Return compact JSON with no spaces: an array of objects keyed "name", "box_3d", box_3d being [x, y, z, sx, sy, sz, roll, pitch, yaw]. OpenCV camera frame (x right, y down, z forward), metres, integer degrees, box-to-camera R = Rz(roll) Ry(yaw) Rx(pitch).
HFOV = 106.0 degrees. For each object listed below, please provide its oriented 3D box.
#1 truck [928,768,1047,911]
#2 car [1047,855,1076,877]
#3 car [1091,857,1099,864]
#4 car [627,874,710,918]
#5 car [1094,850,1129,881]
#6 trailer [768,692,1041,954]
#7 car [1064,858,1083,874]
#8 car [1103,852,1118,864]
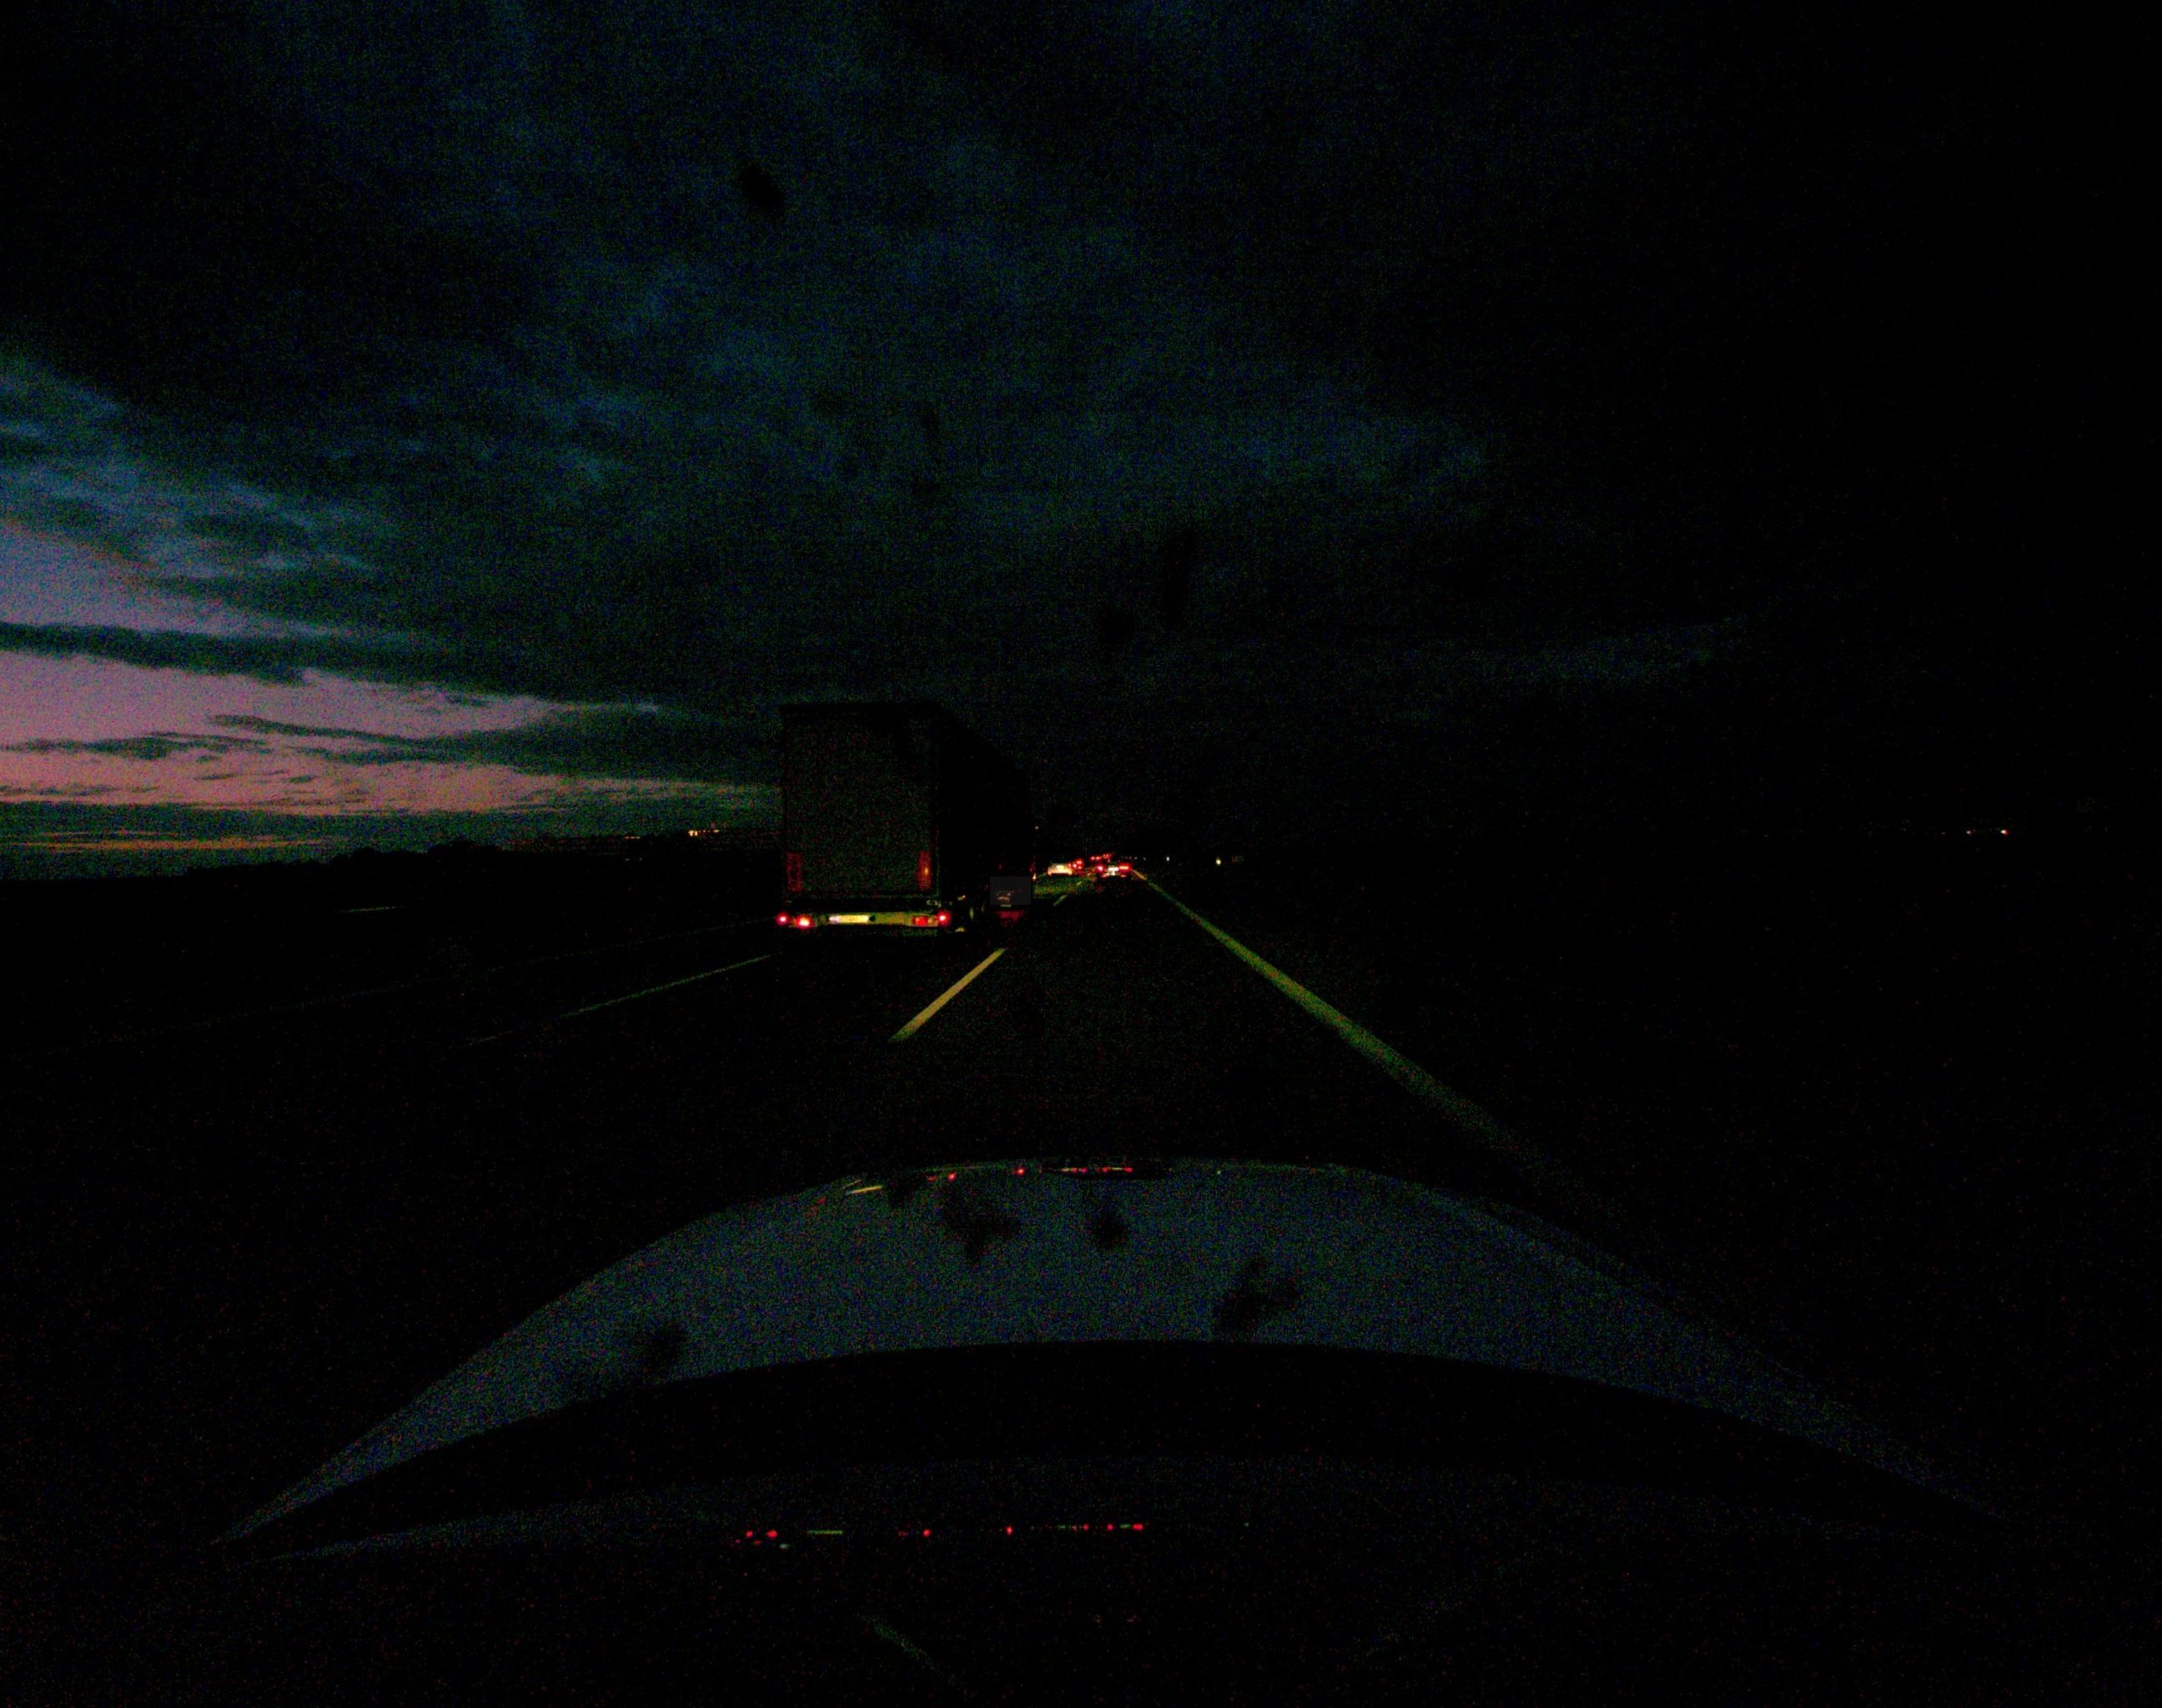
[{"name":"truck","box_3d":[-2.844,-0.387,26.570,2.766,4.093,6.107,-1,-1,3]},{"name":"car","box_3d":[-1.337,0.821,57.319,1.737,1.525,4.417,0,-1,3]},{"name":"car","box_3d":[3.344,1.516,193.281,1.873,1.552,4.001,0,-1,1]},{"name":"car","box_3d":[-20.572,2.027,40.834,1.767,2.014,4.420,0,-1,2]},{"name":"car","box_3d":[1.673,0.626,44.740,1.873,1.643,4.002,0,-1,2]},{"name":"trailer","box_3d":[-3.177,-0.418,20.175,2.782,4.085,14.536,-1,-1,3]},{"name":"car","box_3d":[-0.710,1.146,79.098,1.716,1.471,4.728,0,-1,2]},{"name":"car","box_3d":[3.791,0.571,105.449,1.873,1.552,4.001,0,-1,1]}]
